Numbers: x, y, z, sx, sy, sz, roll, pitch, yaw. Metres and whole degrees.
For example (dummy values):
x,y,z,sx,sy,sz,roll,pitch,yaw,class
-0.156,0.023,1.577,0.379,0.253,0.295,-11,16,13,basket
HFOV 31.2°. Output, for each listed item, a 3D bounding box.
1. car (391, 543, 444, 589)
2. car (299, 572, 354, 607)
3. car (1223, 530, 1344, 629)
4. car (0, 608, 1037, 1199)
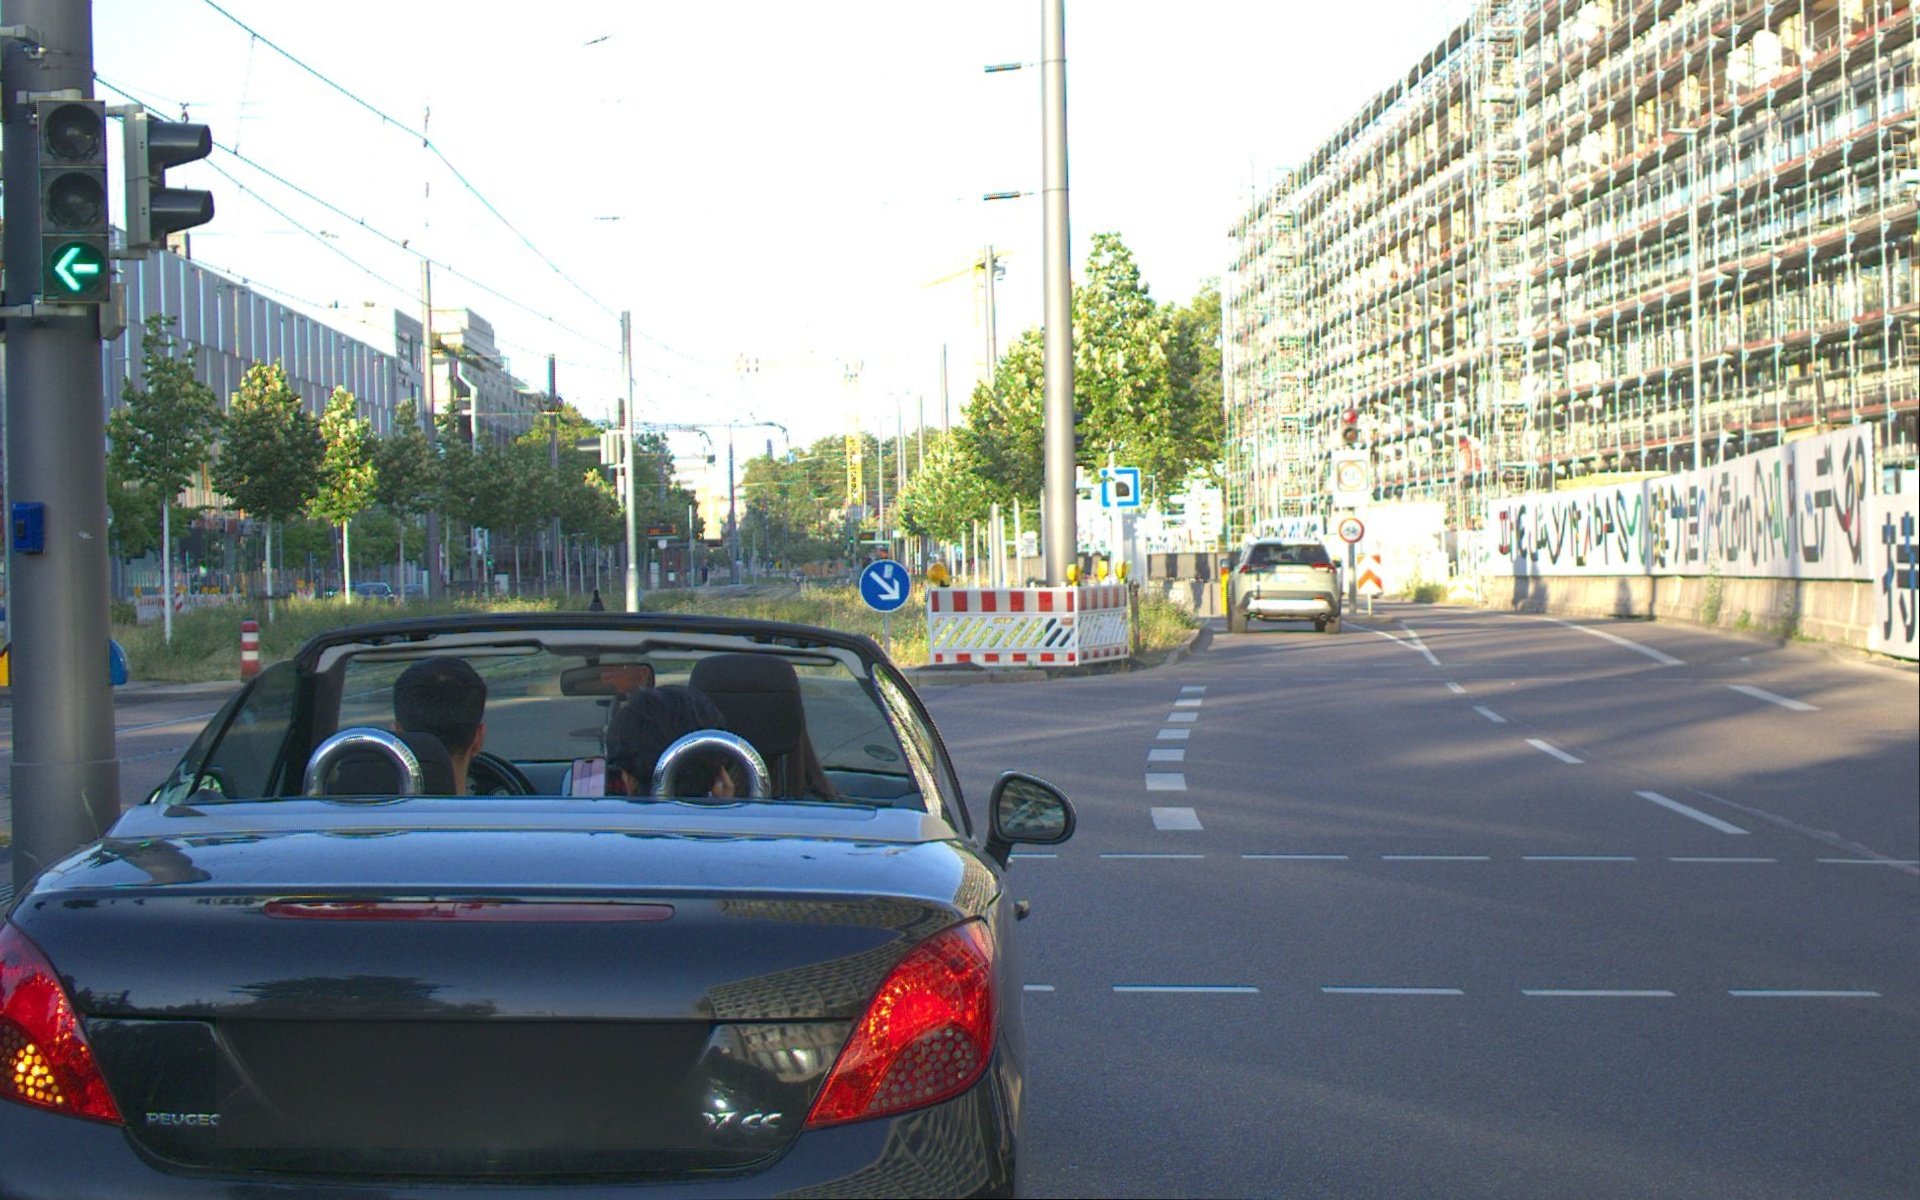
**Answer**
x,y,z,sx,sy,sz,roll,pitch,yaw,class
-23.693,-1.519,150.223,1.658,1.957,4.266,1,1,0,car
-27.676,-0.471,150.311,1.658,1.426,3.895,1,1,0,car
5.637,-0.385,60.310,1.834,1.667,4.282,0,1,2,car
-0.746,0.730,6.852,1.674,1.347,4.000,0,1,0,car
